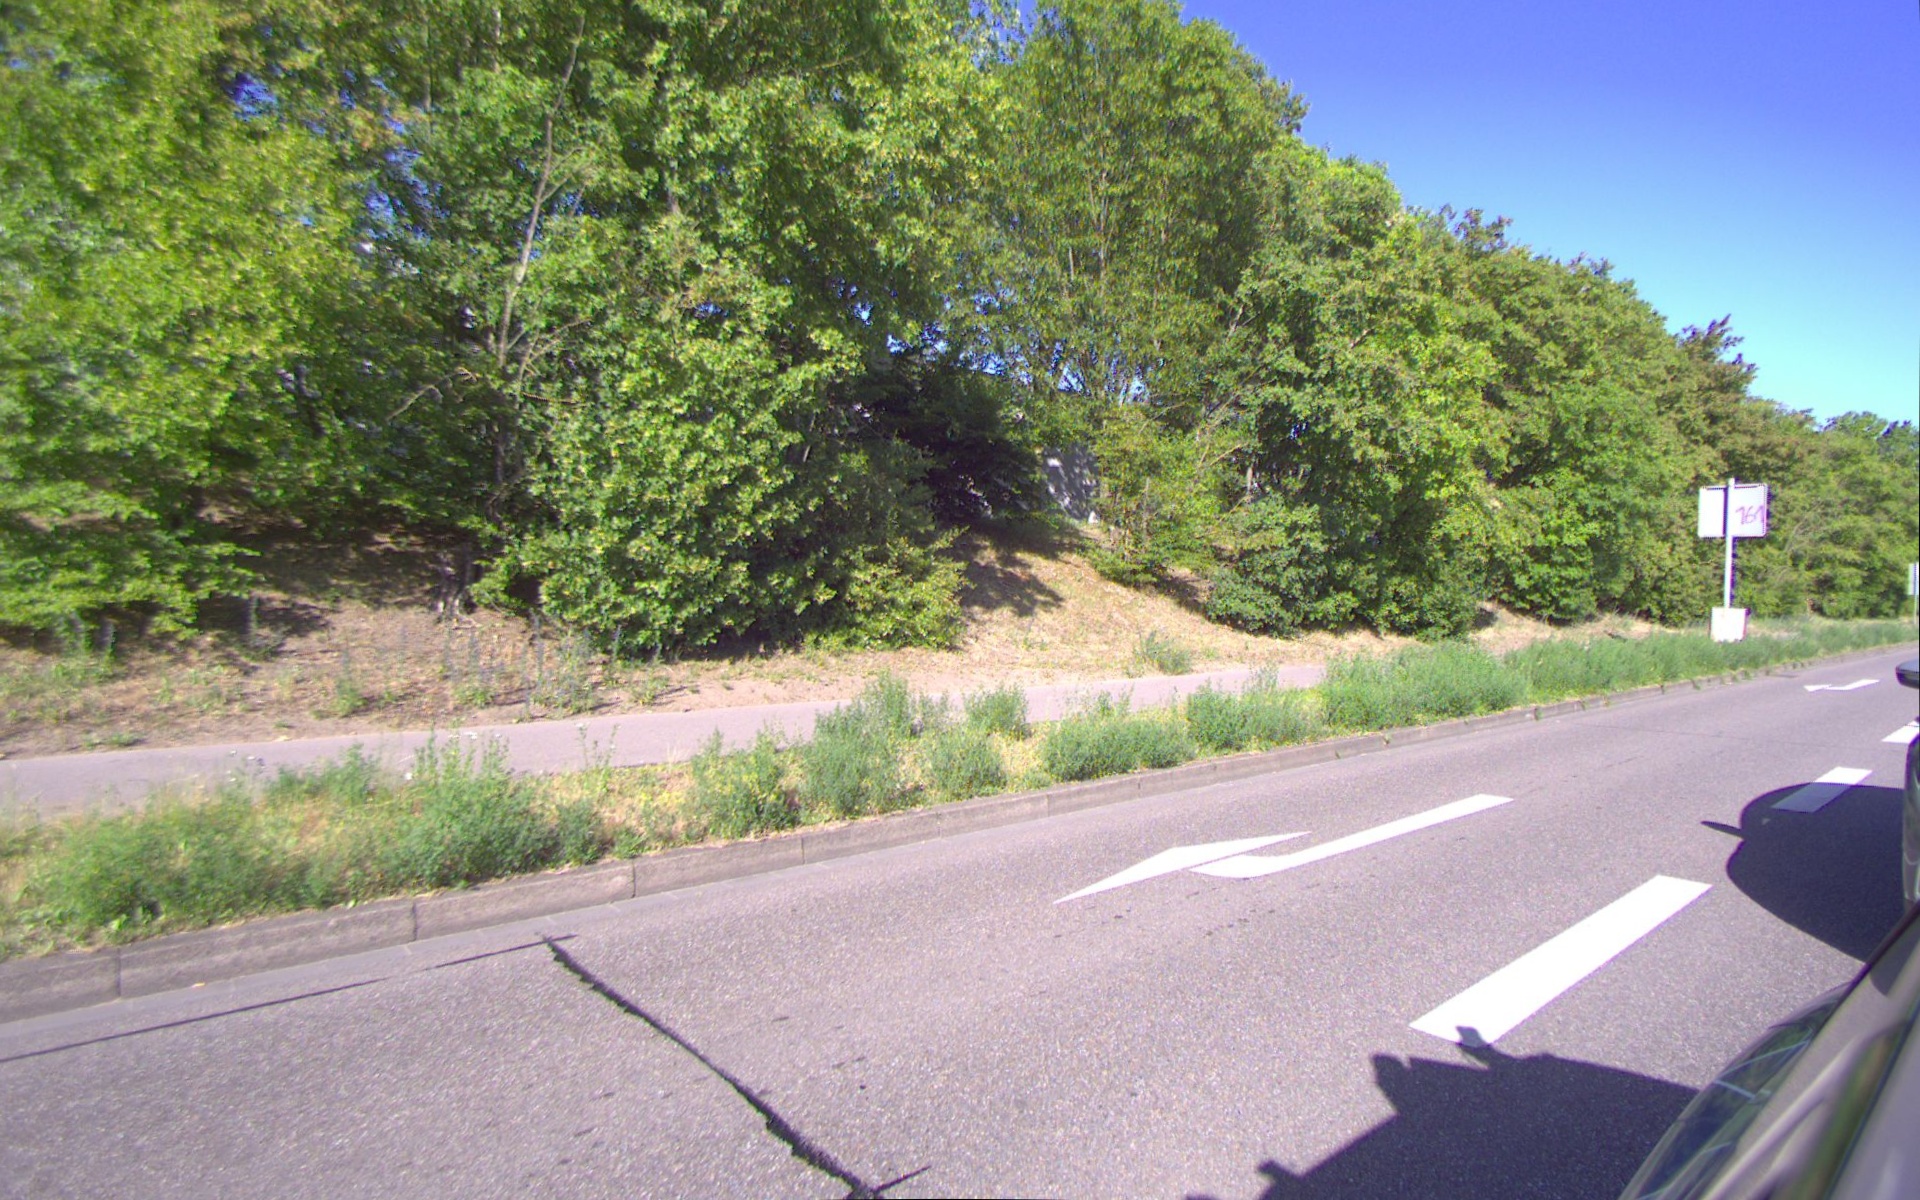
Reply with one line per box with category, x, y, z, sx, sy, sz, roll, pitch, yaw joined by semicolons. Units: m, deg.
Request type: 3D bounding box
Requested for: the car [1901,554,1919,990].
car;5.589;0.652;4.344;3.863;1.617;1.869;0;0;-41
